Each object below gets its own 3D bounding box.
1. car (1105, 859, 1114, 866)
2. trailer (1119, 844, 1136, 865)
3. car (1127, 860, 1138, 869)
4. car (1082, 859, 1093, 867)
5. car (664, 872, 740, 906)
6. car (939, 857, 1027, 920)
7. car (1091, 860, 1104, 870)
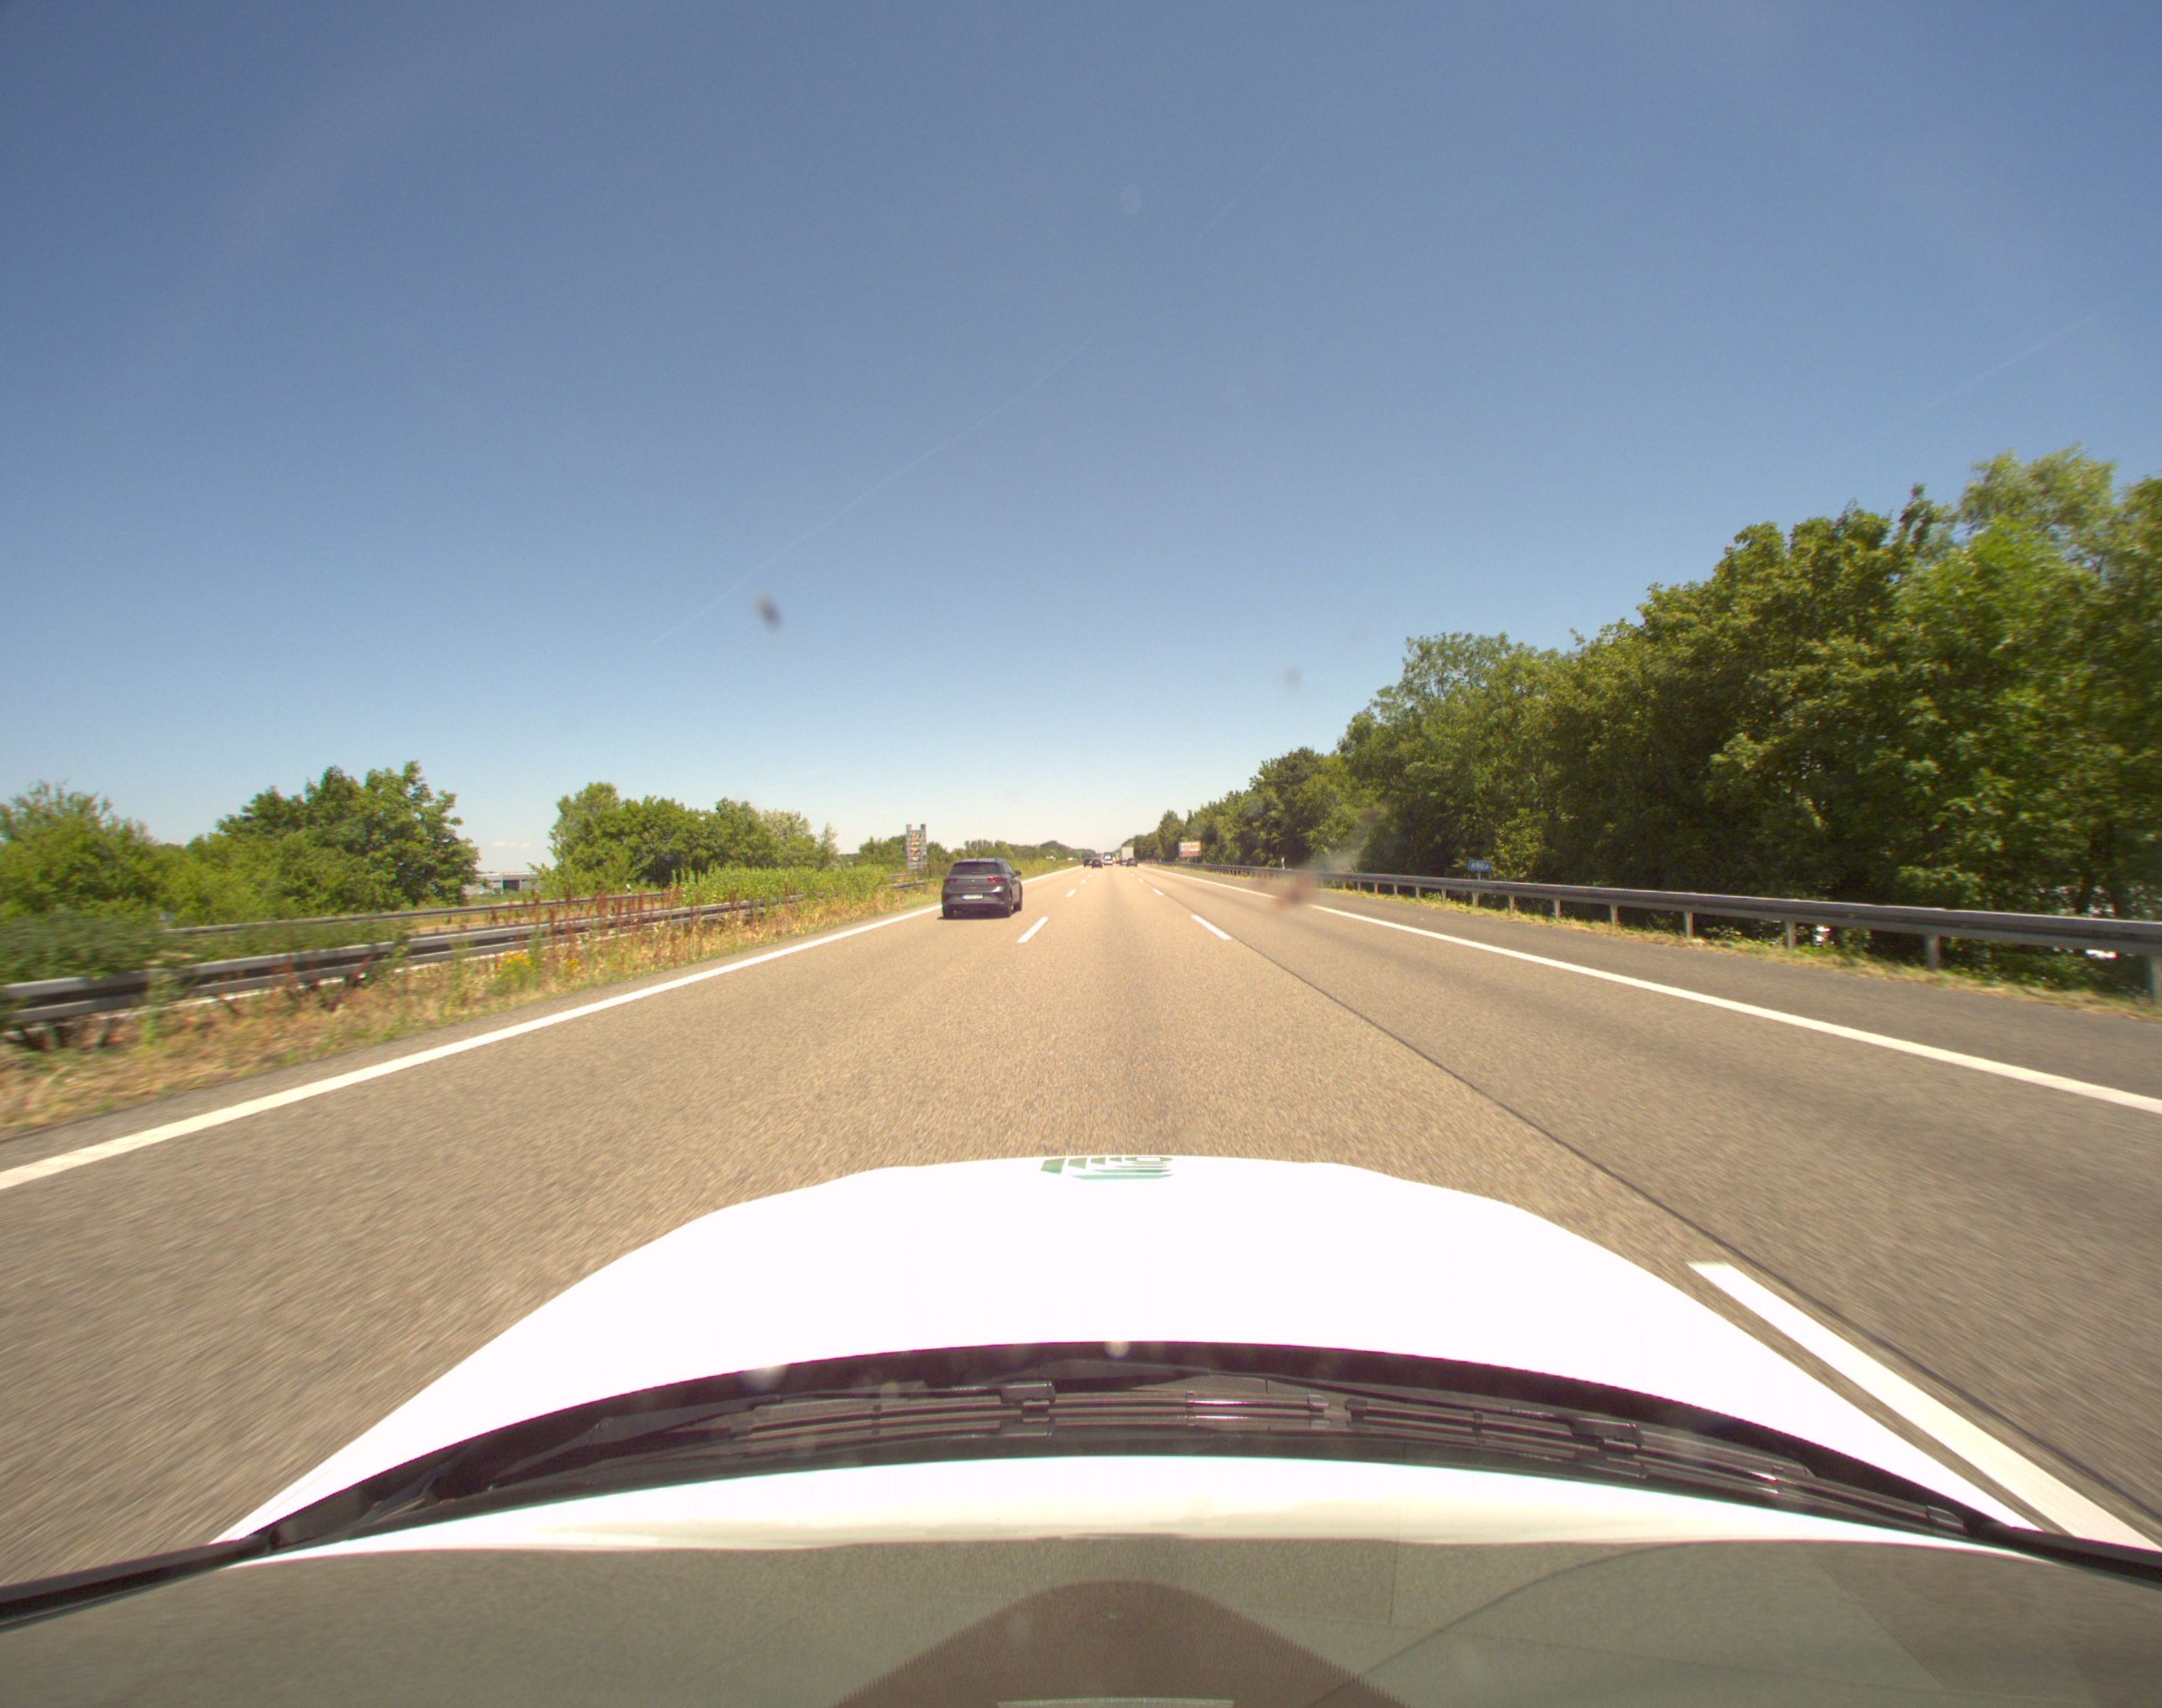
[{"bbox_3d":[6.069,1.760,173.116,1.893,1.531,4.085,0,0,2],"label":"car"},{"bbox_3d":[10.015,0.188,177.444,3.421,4.181,13.638,-1,-1,2],"label":"trailer"},{"bbox_3d":[9.155,1.844,144.863,1.838,1.629,4.137,-2,-1,2],"label":"car"},{"bbox_3d":[1.310,1.717,159.095,1.900,1.531,4.287,0,0,2],"label":"car"},{"bbox_3d":[-20.418,1.841,44.090,1.959,1.672,4.424,-1,0,1],"label":"car"},{"bbox_3d":[-2.583,0.864,22.446,1.752,1.531,4.287,0,0,2],"label":"car"},{"bbox_3d":[2.544,1.723,126.556,1.893,1.531,4.085,0,0,2],"label":"car"}]
